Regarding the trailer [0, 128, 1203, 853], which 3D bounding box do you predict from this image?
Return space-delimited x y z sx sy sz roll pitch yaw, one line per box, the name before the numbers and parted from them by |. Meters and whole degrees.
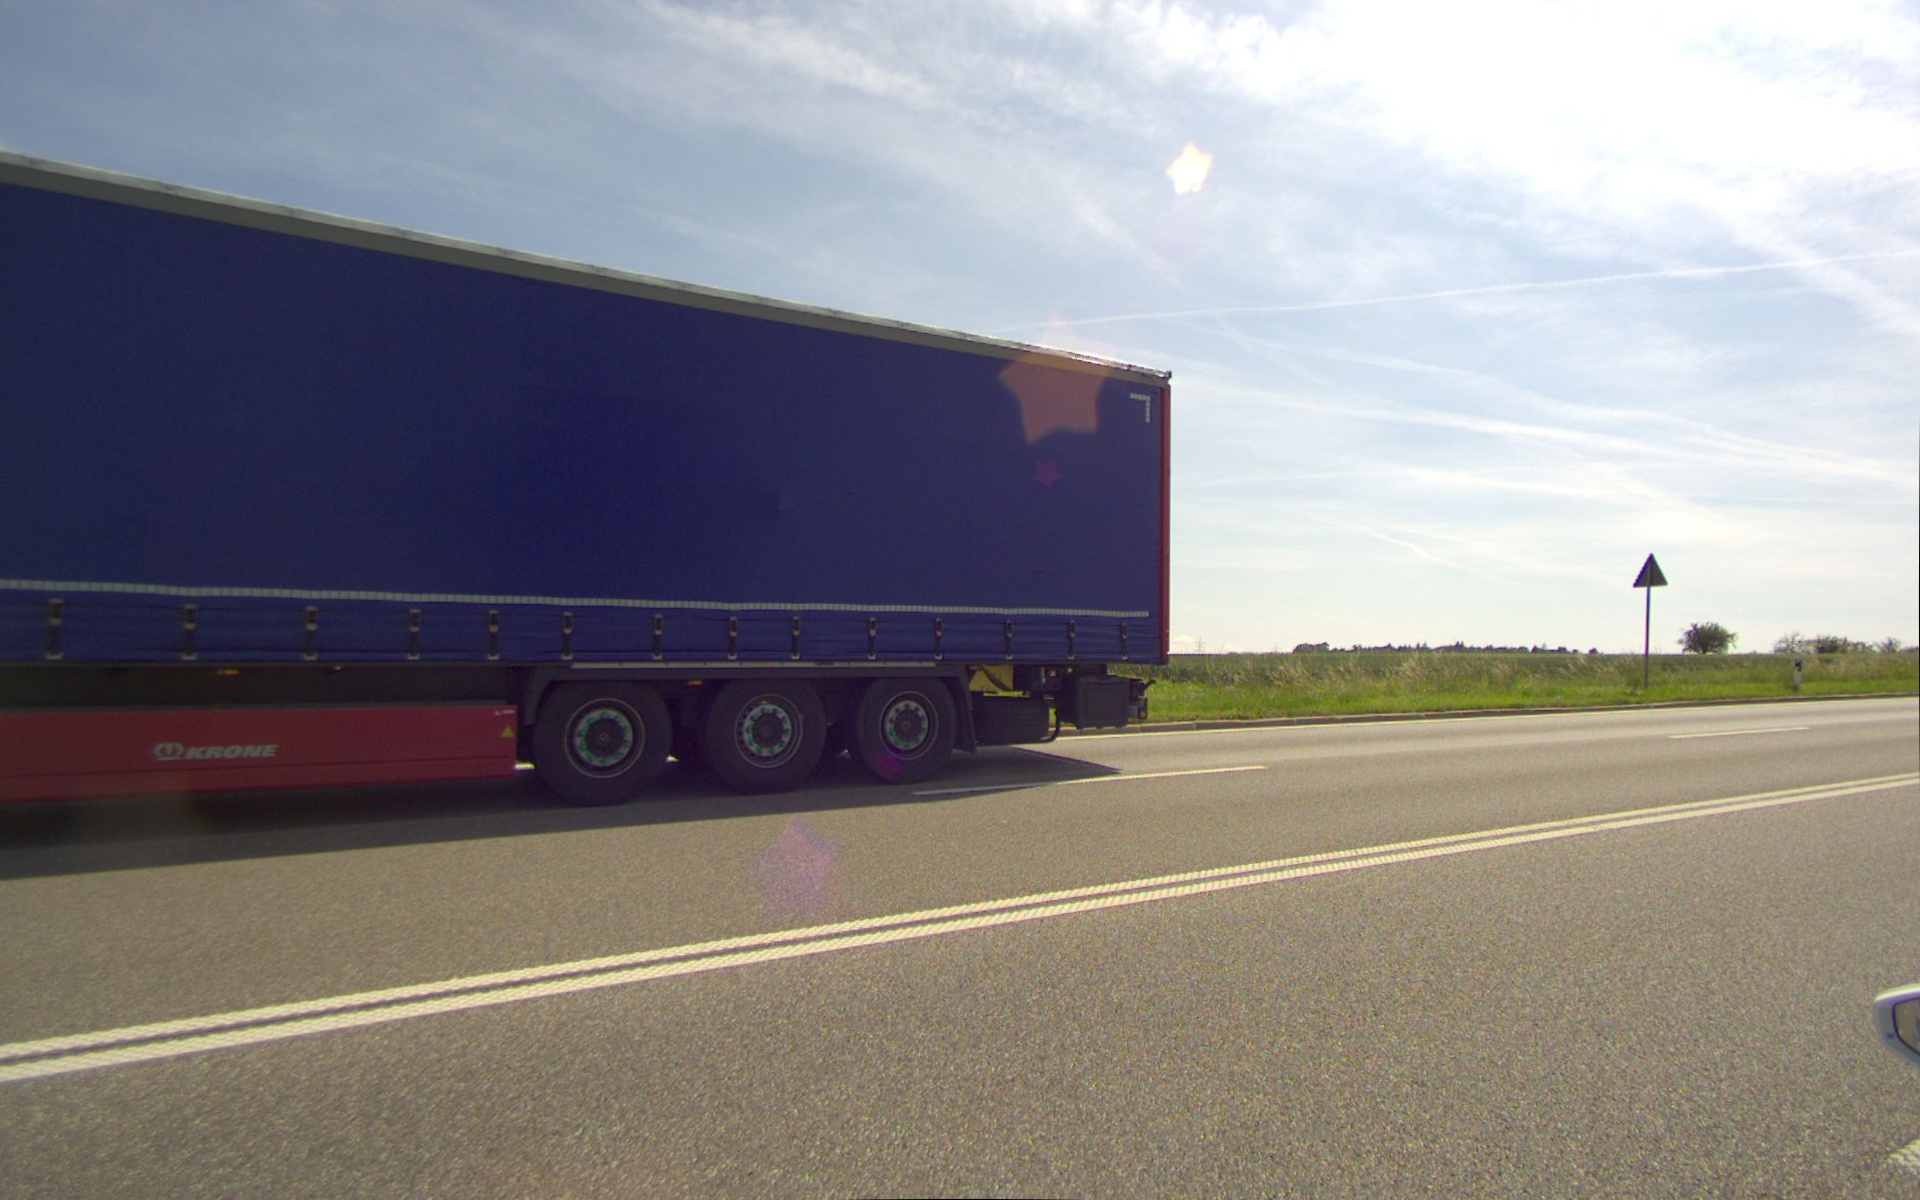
trailer | -3.949 -0.543 8.094 13.420 4.155 2.534 2 -2 -30
